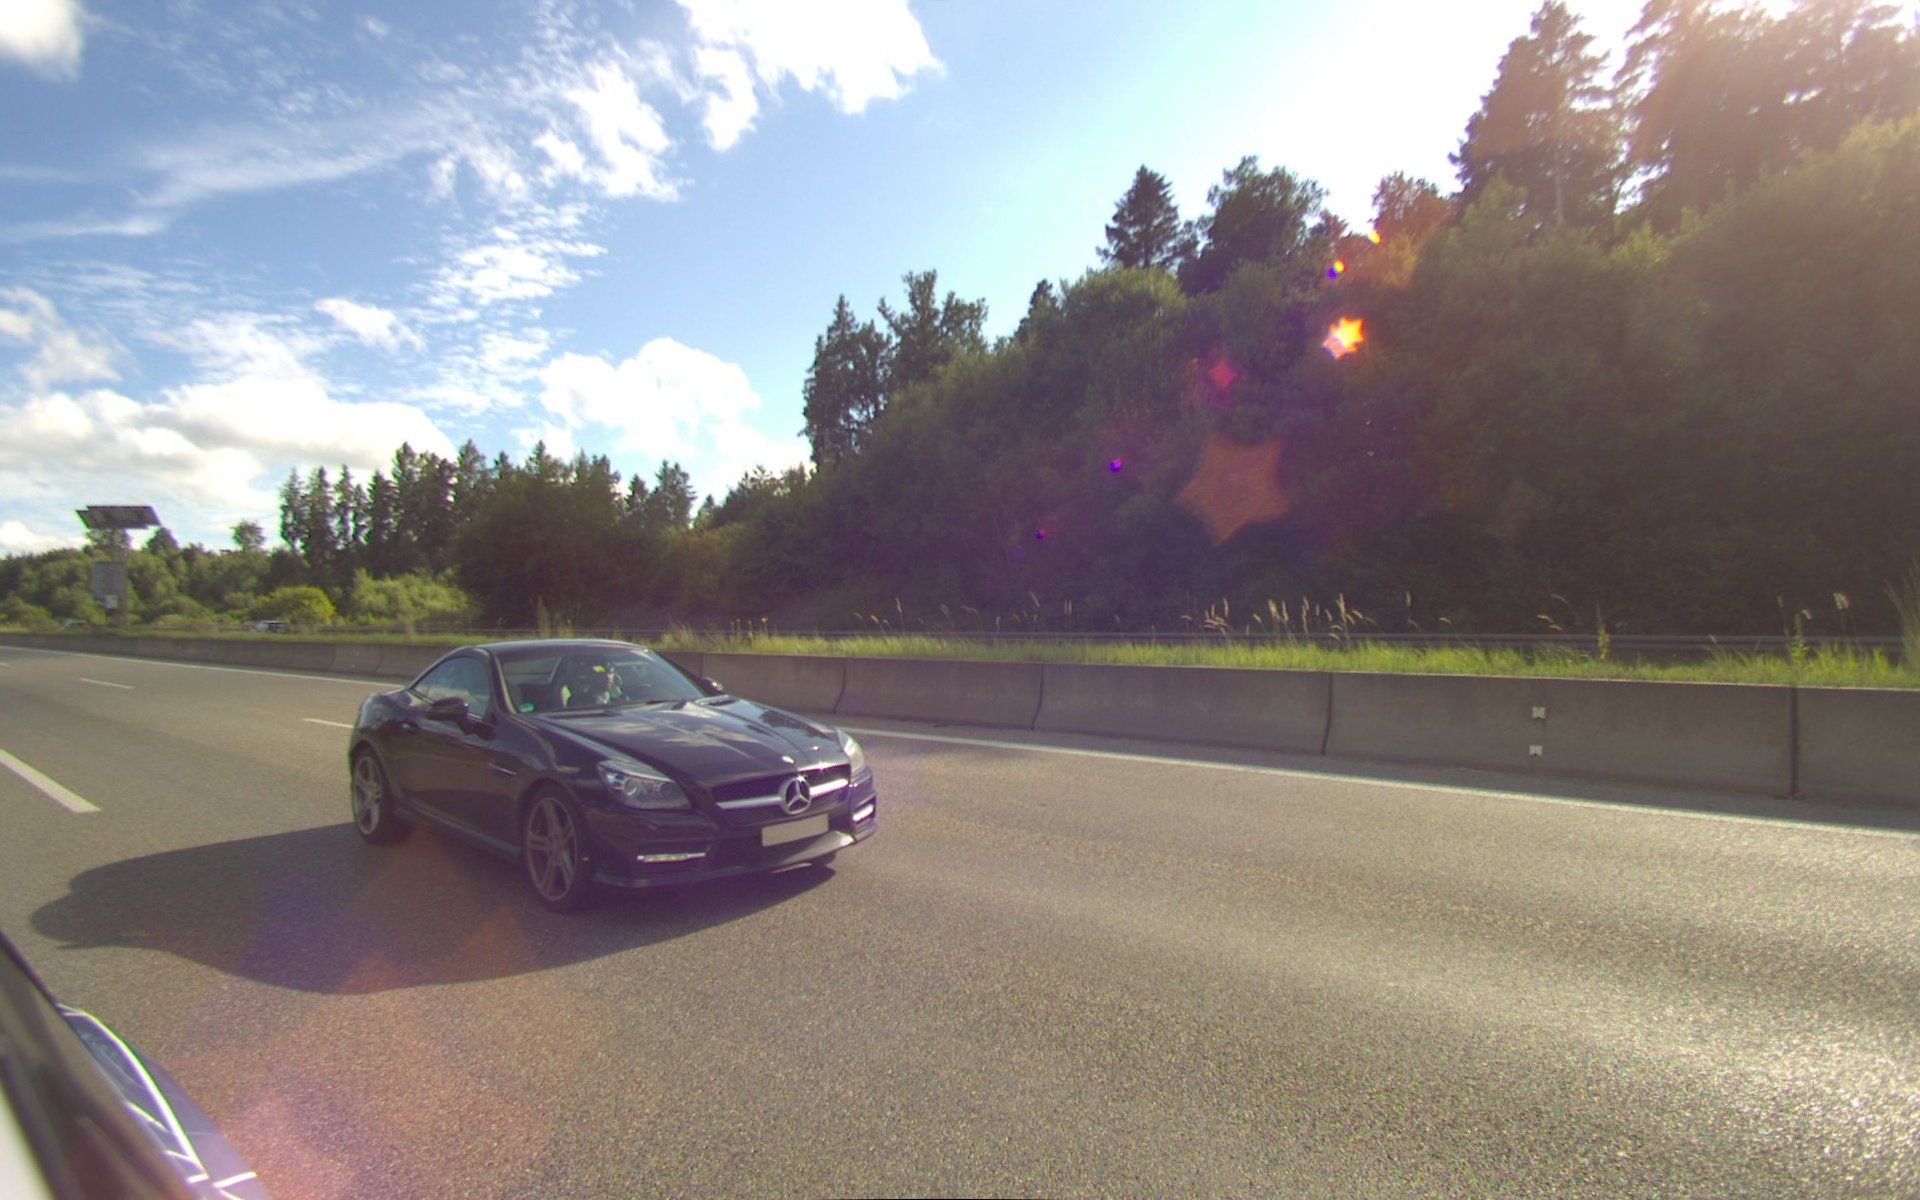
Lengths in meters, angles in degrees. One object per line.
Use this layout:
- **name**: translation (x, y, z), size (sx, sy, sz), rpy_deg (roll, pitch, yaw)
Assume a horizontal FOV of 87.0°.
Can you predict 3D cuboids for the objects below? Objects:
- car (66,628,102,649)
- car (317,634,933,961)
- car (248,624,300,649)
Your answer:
- **car**: translation (-85.357, 3.731, 98.605), size (4.434, 1.895, 1.973), rpy_deg (-2, -1, 40)
- **car**: translation (-2.288, 0.884, 6.229), size (4.197, 1.293, 1.726), rpy_deg (-2, -1, 41)
- **car**: translation (-48.548, 2.563, 71.604), size (4.567, 1.640, 1.860), rpy_deg (-2, -1, 40)
